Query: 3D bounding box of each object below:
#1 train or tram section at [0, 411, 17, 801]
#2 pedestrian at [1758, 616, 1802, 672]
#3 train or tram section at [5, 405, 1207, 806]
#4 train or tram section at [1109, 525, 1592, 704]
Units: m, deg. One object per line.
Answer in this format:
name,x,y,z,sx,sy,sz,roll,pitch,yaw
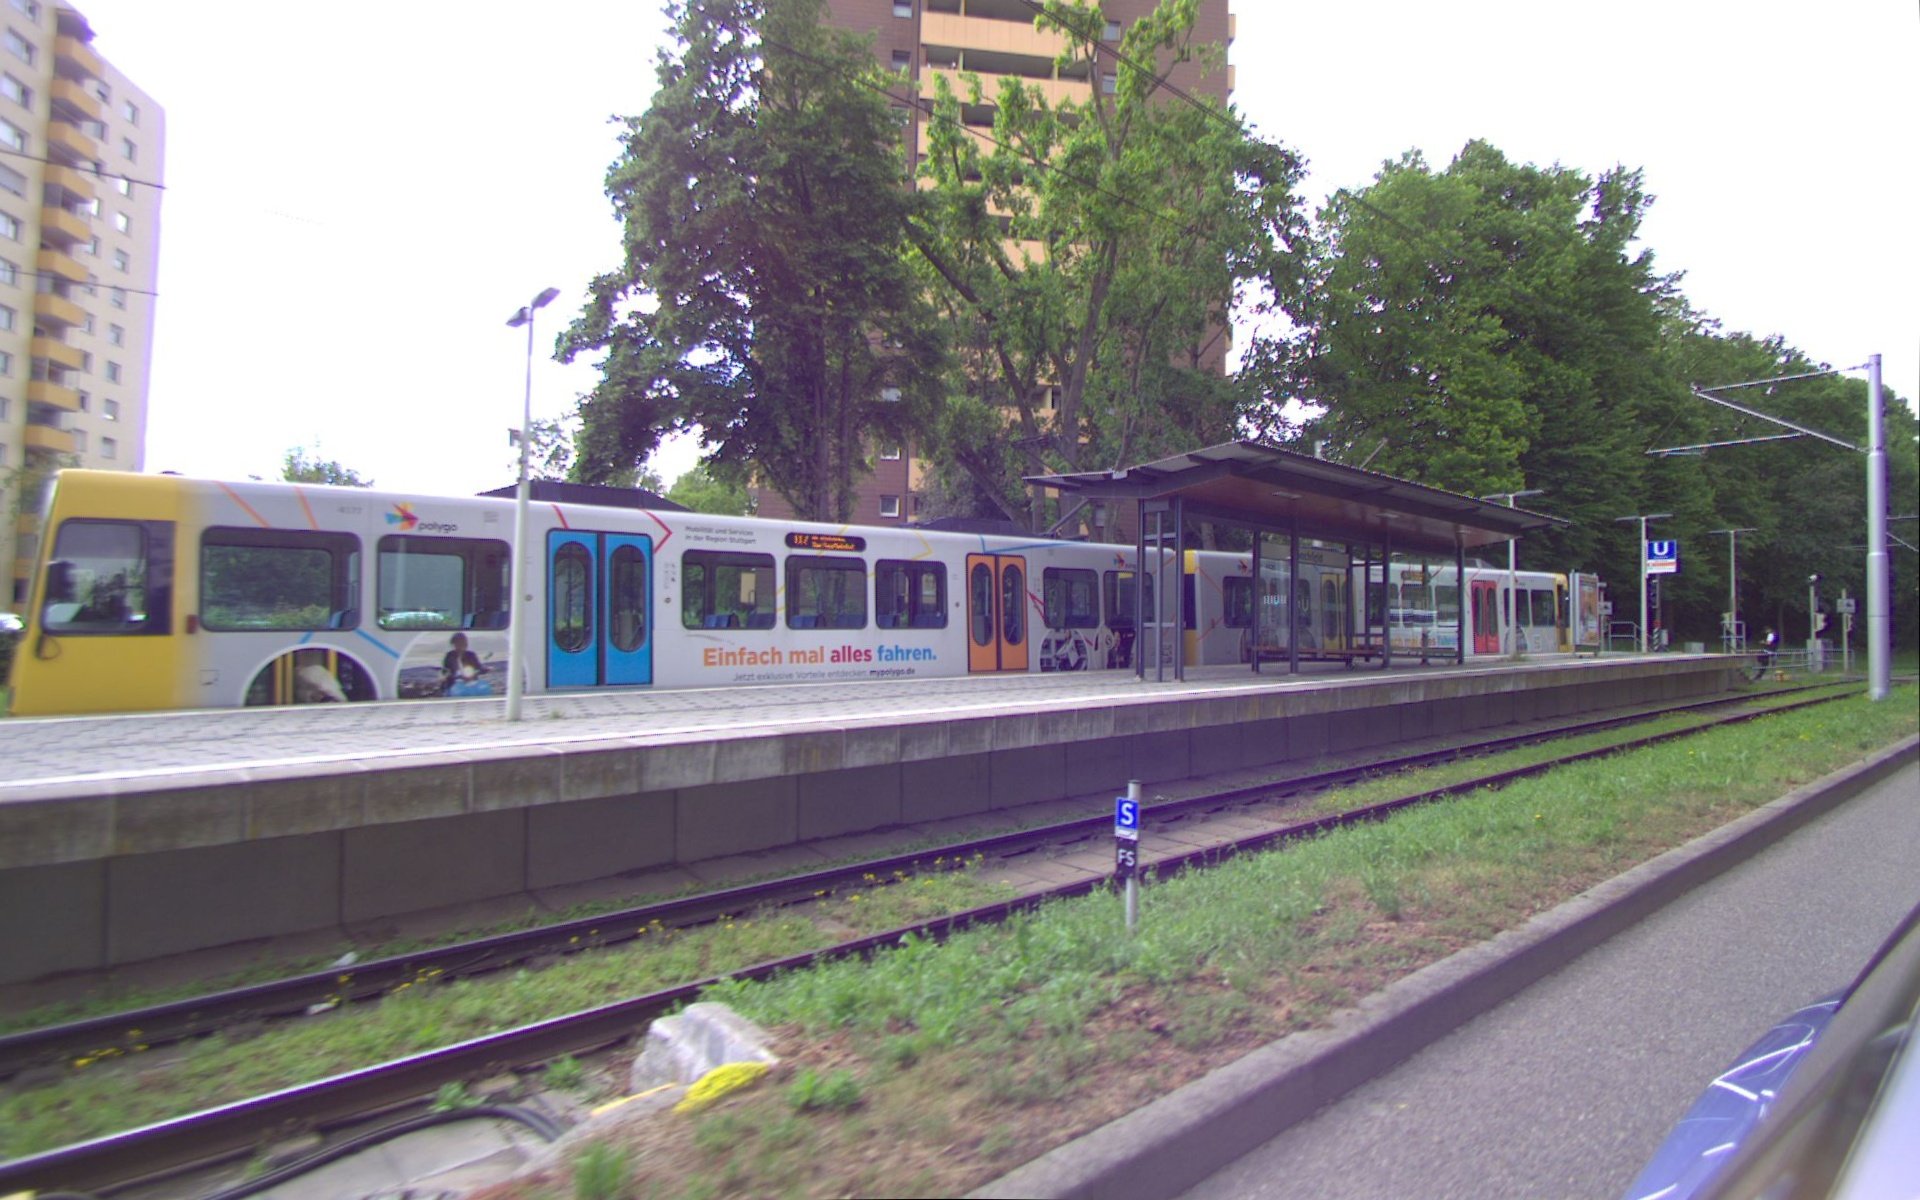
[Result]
train or tram section,-17.172,-0.036,4.274,19.181,3.786,2.815,1,-3,-43
pedestrian,26.561,1.424,32.789,0.984,1.781,0.717,-3,-4,45
train or tram section,-2.824,0.200,16.735,18.592,3.848,2.818,1,-3,-40
train or tram section,11.738,0.441,27.905,18.180,3.786,2.821,1,-3,-36
